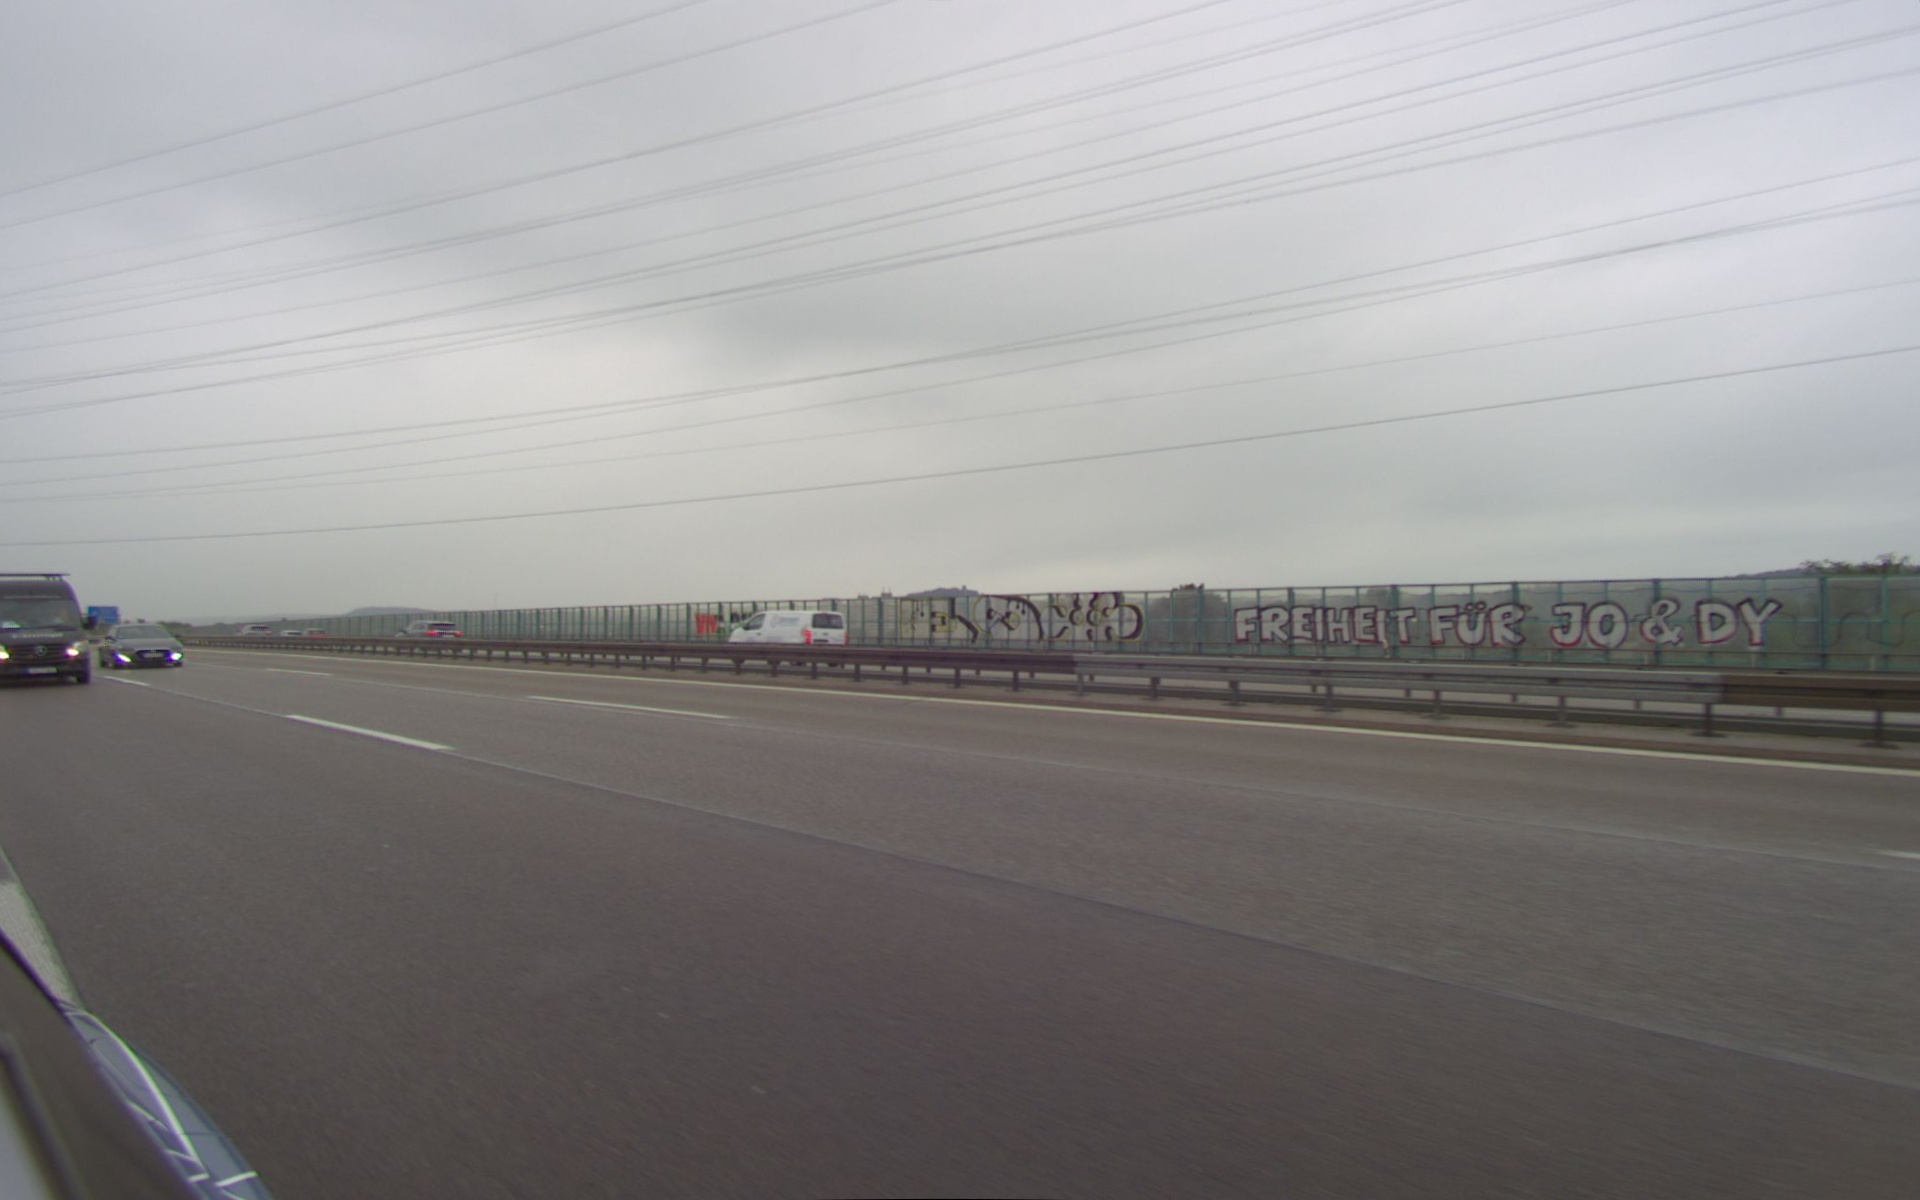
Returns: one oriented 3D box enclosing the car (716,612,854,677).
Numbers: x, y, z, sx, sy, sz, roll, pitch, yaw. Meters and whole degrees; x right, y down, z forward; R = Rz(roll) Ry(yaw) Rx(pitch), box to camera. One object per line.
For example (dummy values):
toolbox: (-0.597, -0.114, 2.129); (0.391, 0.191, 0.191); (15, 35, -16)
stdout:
car: (-6.075, 1.471, 34.863); (5.009, 2.029, 1.973); (-1, 0, 41)

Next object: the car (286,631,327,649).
car: (-55.982, 3.391, 86.679); (4.466, 1.441, 1.821); (-1, -4, 42)

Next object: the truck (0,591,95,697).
truck: (-23.285, 0.998, 25.019); (6.107, 2.355, 1.973); (0, -1, 41)

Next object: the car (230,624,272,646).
car: (-58.307, 2.860, 83.227); (4.466, 1.757, 1.821); (-1, -4, 42)

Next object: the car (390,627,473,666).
car: (-23.982, 2.078, 45.831); (4.213, 1.569, 1.972); (-1, 0, 42)

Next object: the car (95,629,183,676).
car: (-27.259, 1.738, 33.546); (4.830, 1.413, 1.706); (-3, -2, 44)
